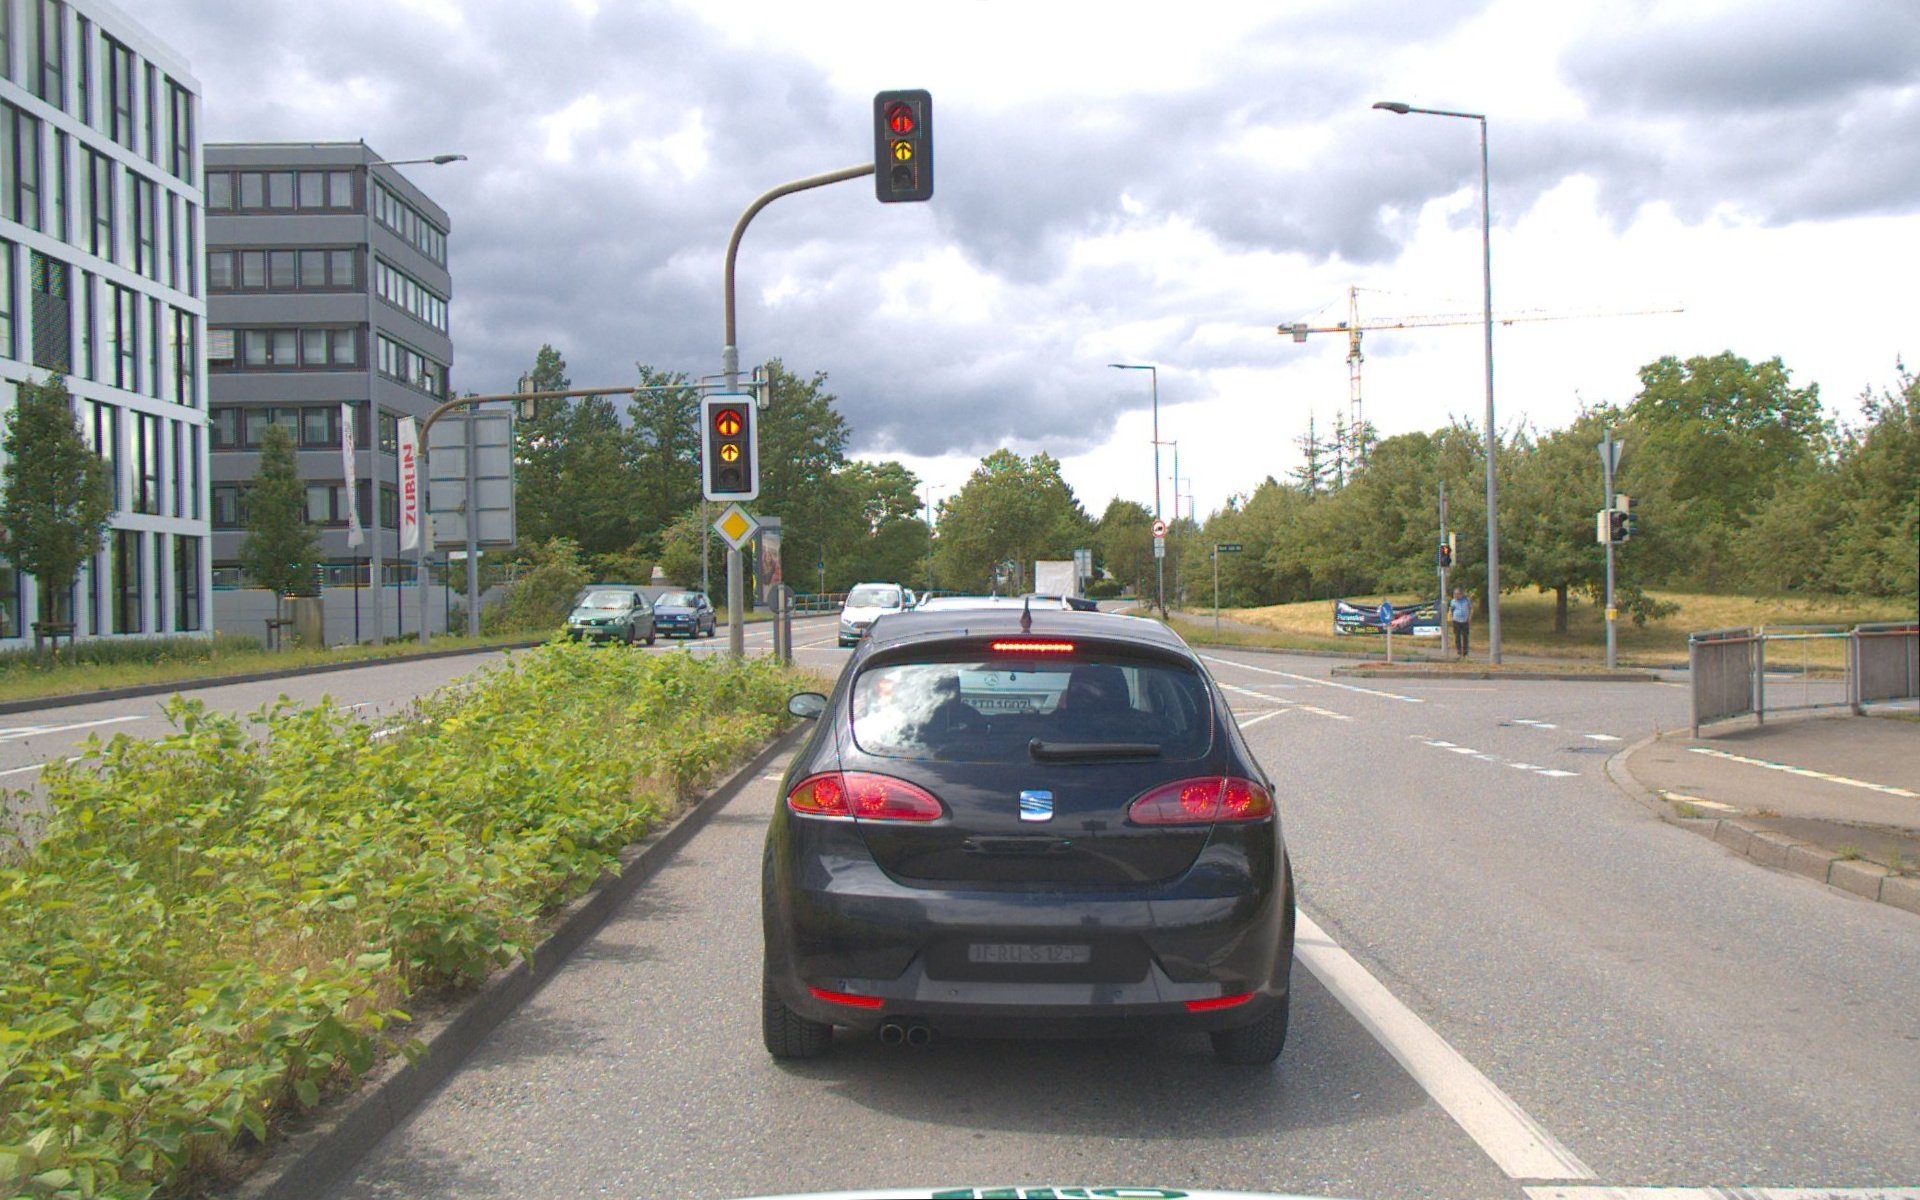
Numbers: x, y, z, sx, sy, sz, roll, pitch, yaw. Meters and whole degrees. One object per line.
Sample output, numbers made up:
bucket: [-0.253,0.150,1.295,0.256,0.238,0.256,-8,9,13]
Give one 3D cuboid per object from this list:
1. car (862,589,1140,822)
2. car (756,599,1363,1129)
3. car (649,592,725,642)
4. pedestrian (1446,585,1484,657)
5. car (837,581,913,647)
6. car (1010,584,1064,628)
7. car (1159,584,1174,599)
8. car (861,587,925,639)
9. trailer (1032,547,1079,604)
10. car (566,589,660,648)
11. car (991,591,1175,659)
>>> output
car: [0.283,0.698,12.686,1.797,1.493,3.751,1,0,0]
car: [0.262,0.737,6.338,1.676,1.442,3.459,1,0,-1]
car: [-8.398,0.489,51.177,1.521,1.444,3.897,1,1,3]
pedestrian: [13.084,0.540,42.874,0.703,1.824,1.044,1,0,3]
car: [-2.324,0.349,46.162,1.783,1.716,4.646,1,1,1]
car: [2.869,0.196,61.479,1.952,1.593,4.473,0,0,3]
car: [24.128,-1.004,193.340,1.631,1.624,4.003,1,0,9]
car: [-2.068,0.382,52.244,1.625,1.545,4.086,1,1,3]
trailer: [5.532,-1.362,95.173,2.438,3.127,5.590,1,0,6]
car: [-9.034,0.447,43.303,1.572,1.457,3.753,0,0,1]
car: [2.796,0.577,37.812,3.817,1.471,1.752,1,0,-17]
